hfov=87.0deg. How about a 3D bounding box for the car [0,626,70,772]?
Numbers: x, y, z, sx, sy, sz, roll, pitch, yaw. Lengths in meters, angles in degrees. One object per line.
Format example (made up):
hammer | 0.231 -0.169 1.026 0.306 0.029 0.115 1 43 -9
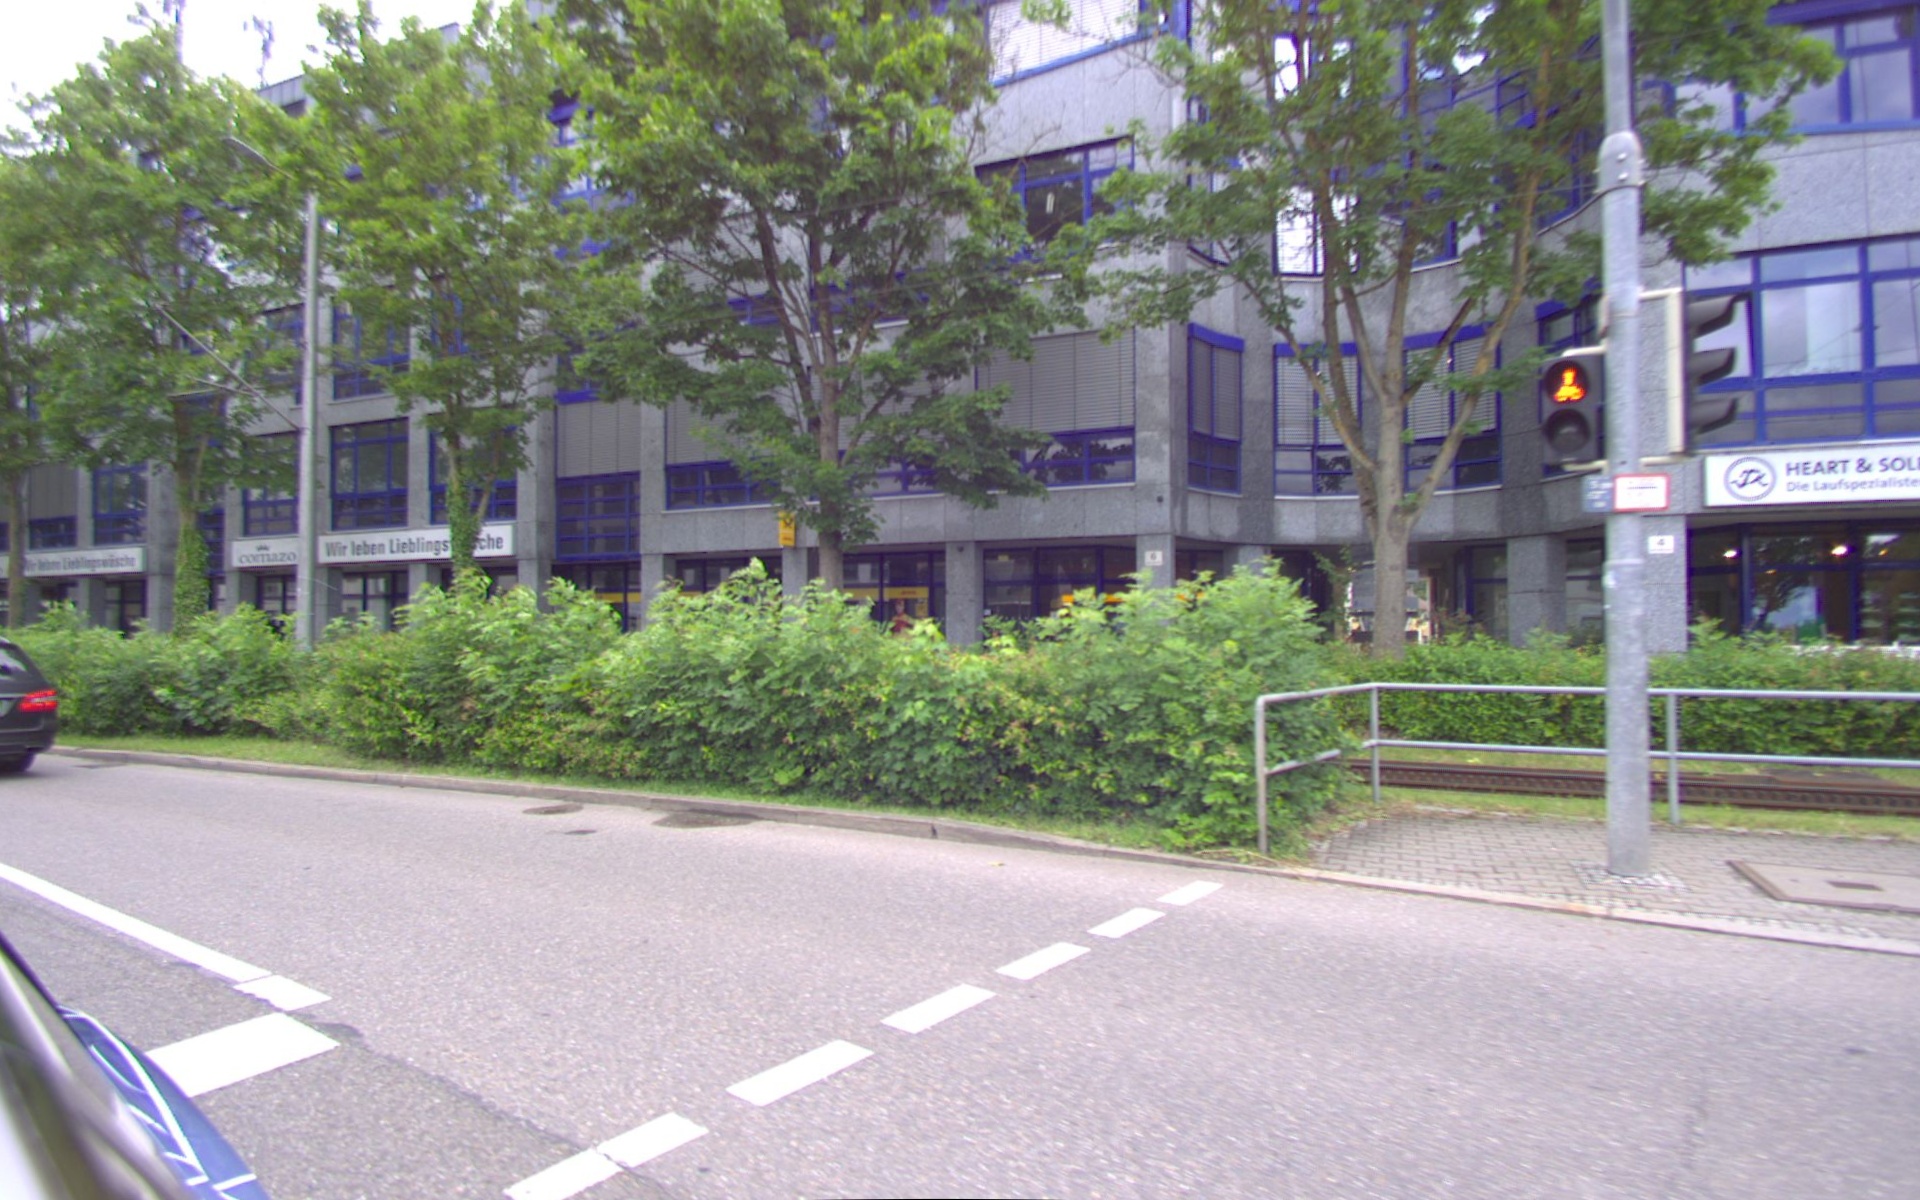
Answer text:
car | -11.757 0.998 10.733 4.680 1.448 1.835 -1 -3 26
